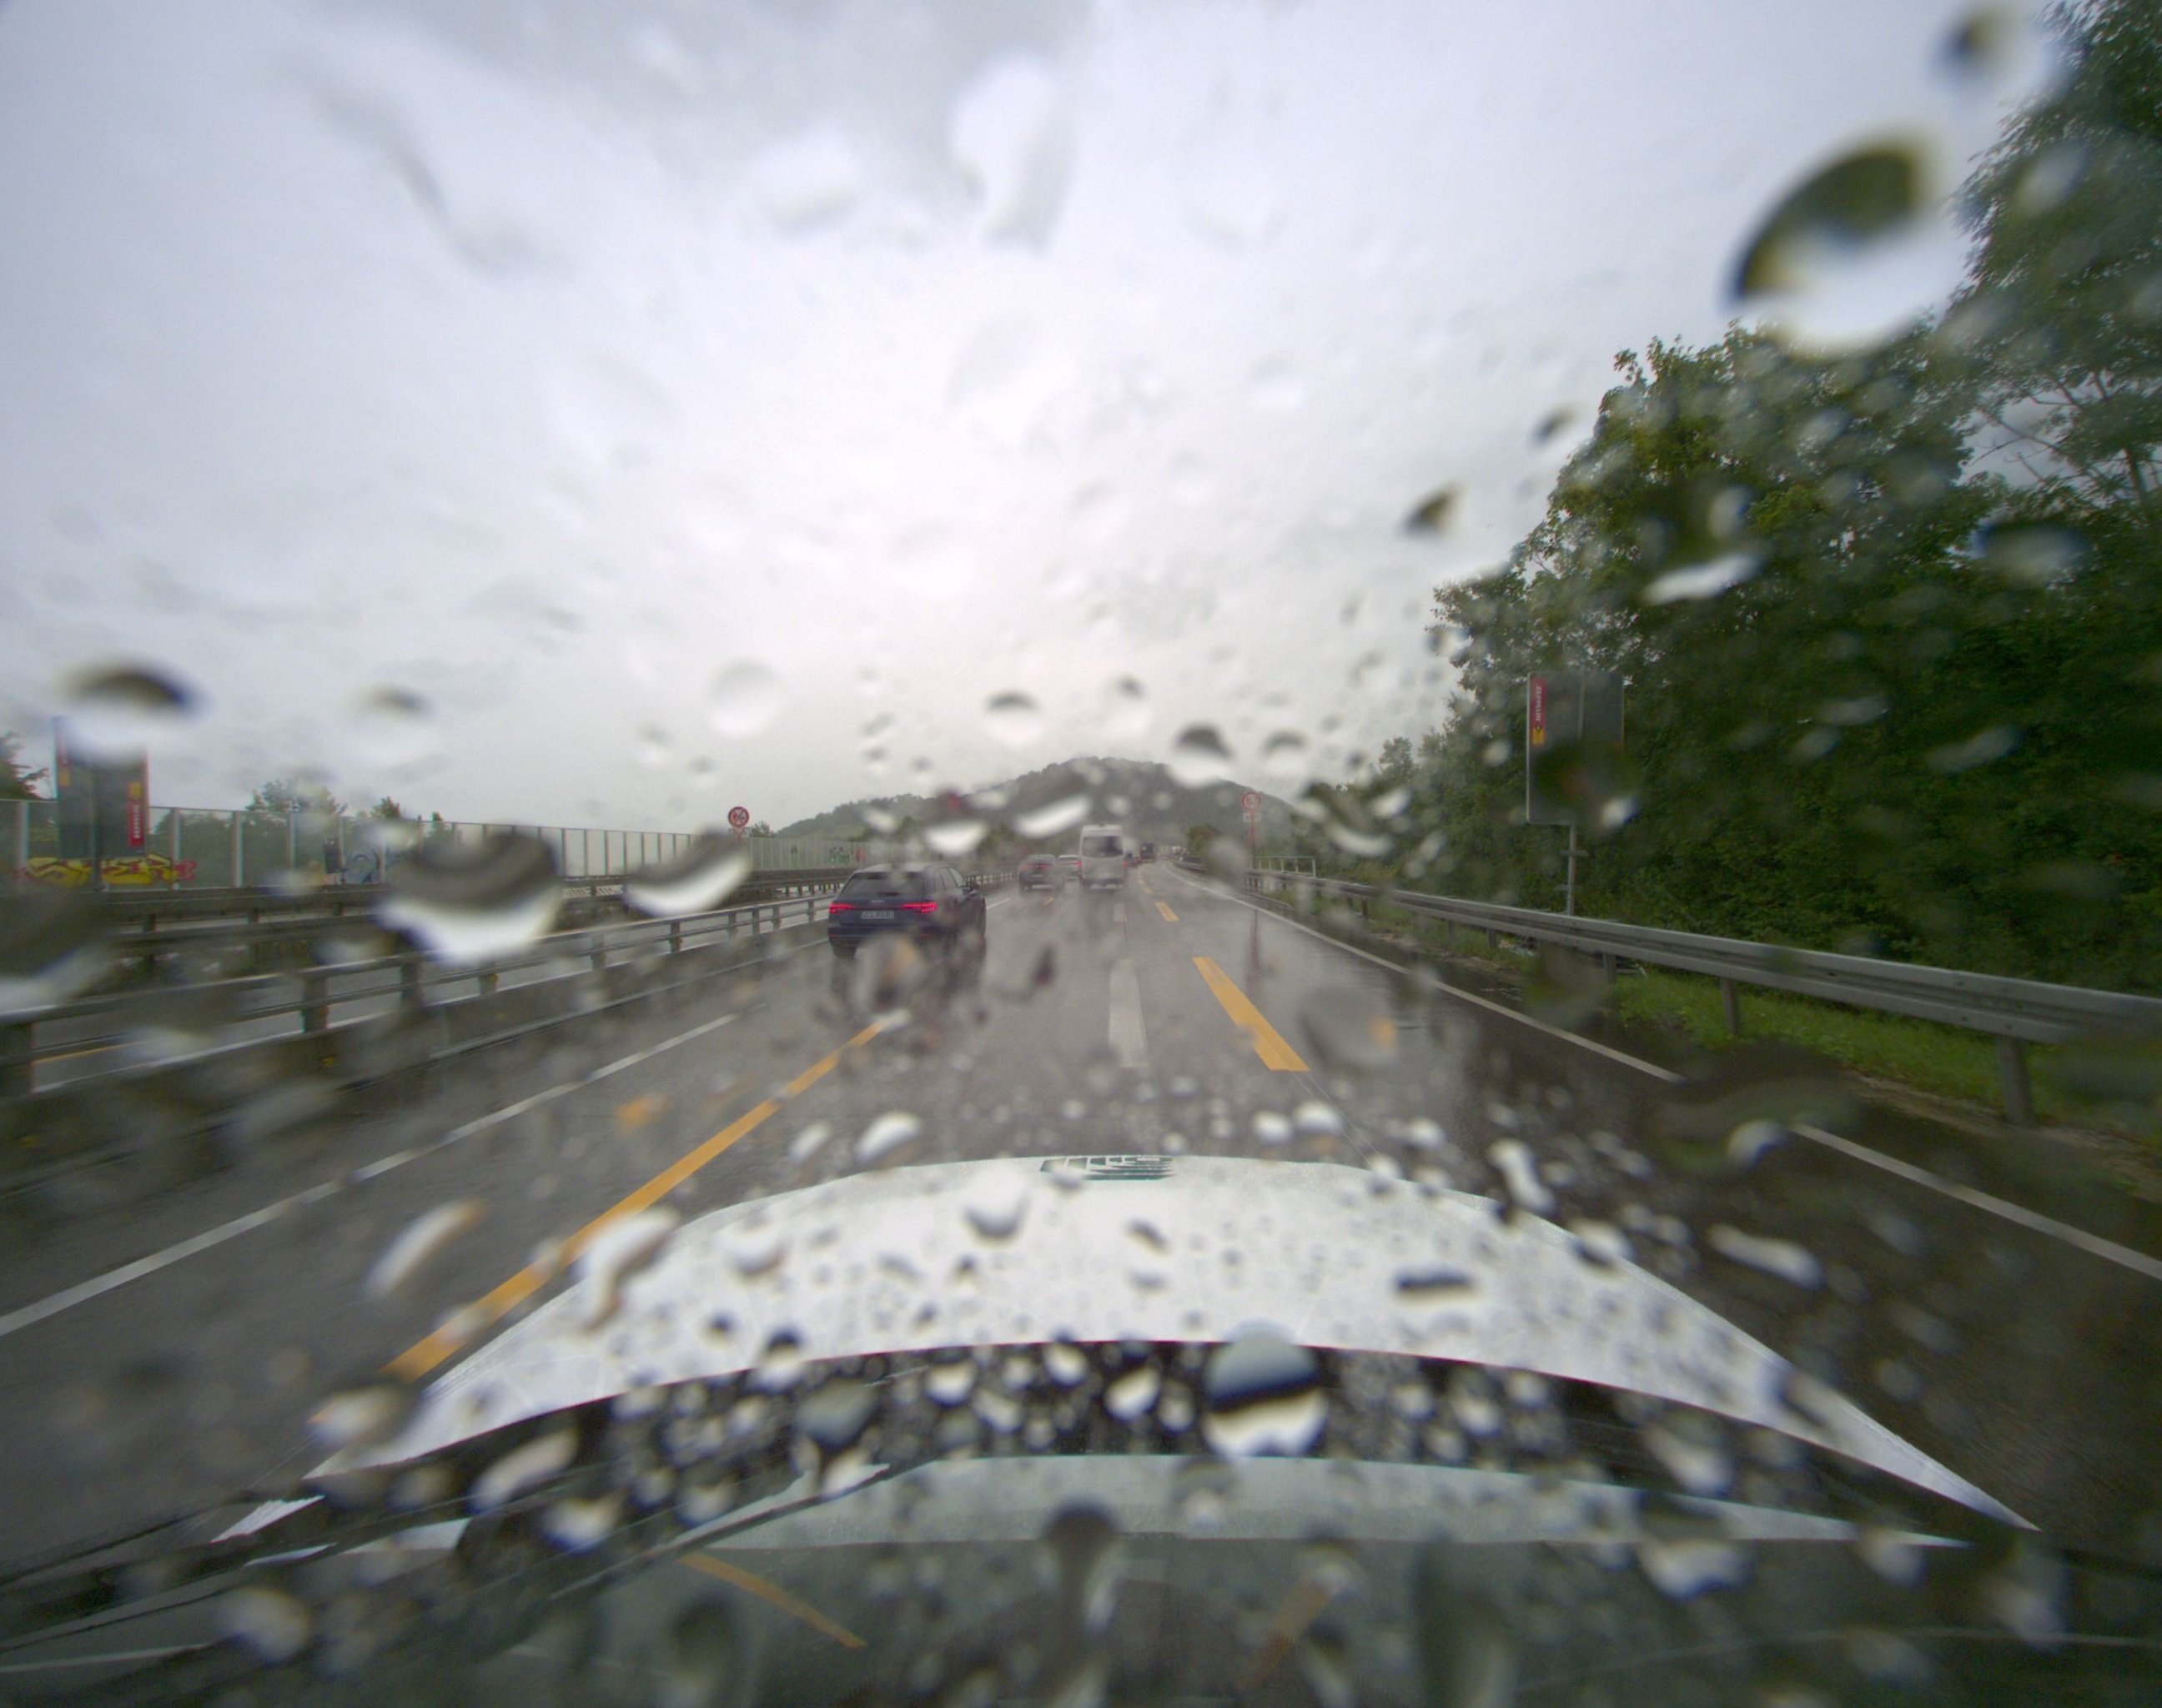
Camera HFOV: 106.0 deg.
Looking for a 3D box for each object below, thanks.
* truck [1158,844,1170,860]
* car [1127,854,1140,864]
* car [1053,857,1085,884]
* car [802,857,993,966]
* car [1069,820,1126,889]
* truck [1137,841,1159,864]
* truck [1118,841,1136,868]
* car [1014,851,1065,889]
[{"bbox_3d":[23.818,-0.539,232.700,3.019,4.406,9.646,-1,-1,8],"label":"truck"},{"bbox_3d":[7.592,0.763,117.397,1.764,1.475,4.007,-1,-1,7],"label":"car"},{"bbox_3d":[-0.783,1.041,52.821,1.987,1.617,4.794,0,-1,-1],"label":"car"},{"bbox_3d":[-2.789,0.819,13.591,1.986,1.498,4.632,-1,-1,2],"label":"car"},{"bbox_3d":[0.782,0.046,33.560,2.136,2.571,5.394,0,-1,3],"label":"car"},{"bbox_3d":[13.093,-0.293,159.490,3.560,4.406,9.647,-1,-1,9],"label":"truck"},{"bbox_3d":[5.574,0.097,98.505,1.985,3.109,8.507,-1,-1,4],"label":"truck"},{"bbox_3d":[-1.820,0.707,36.866,1.986,1.585,4.414,0,-1,1],"label":"car"}]
